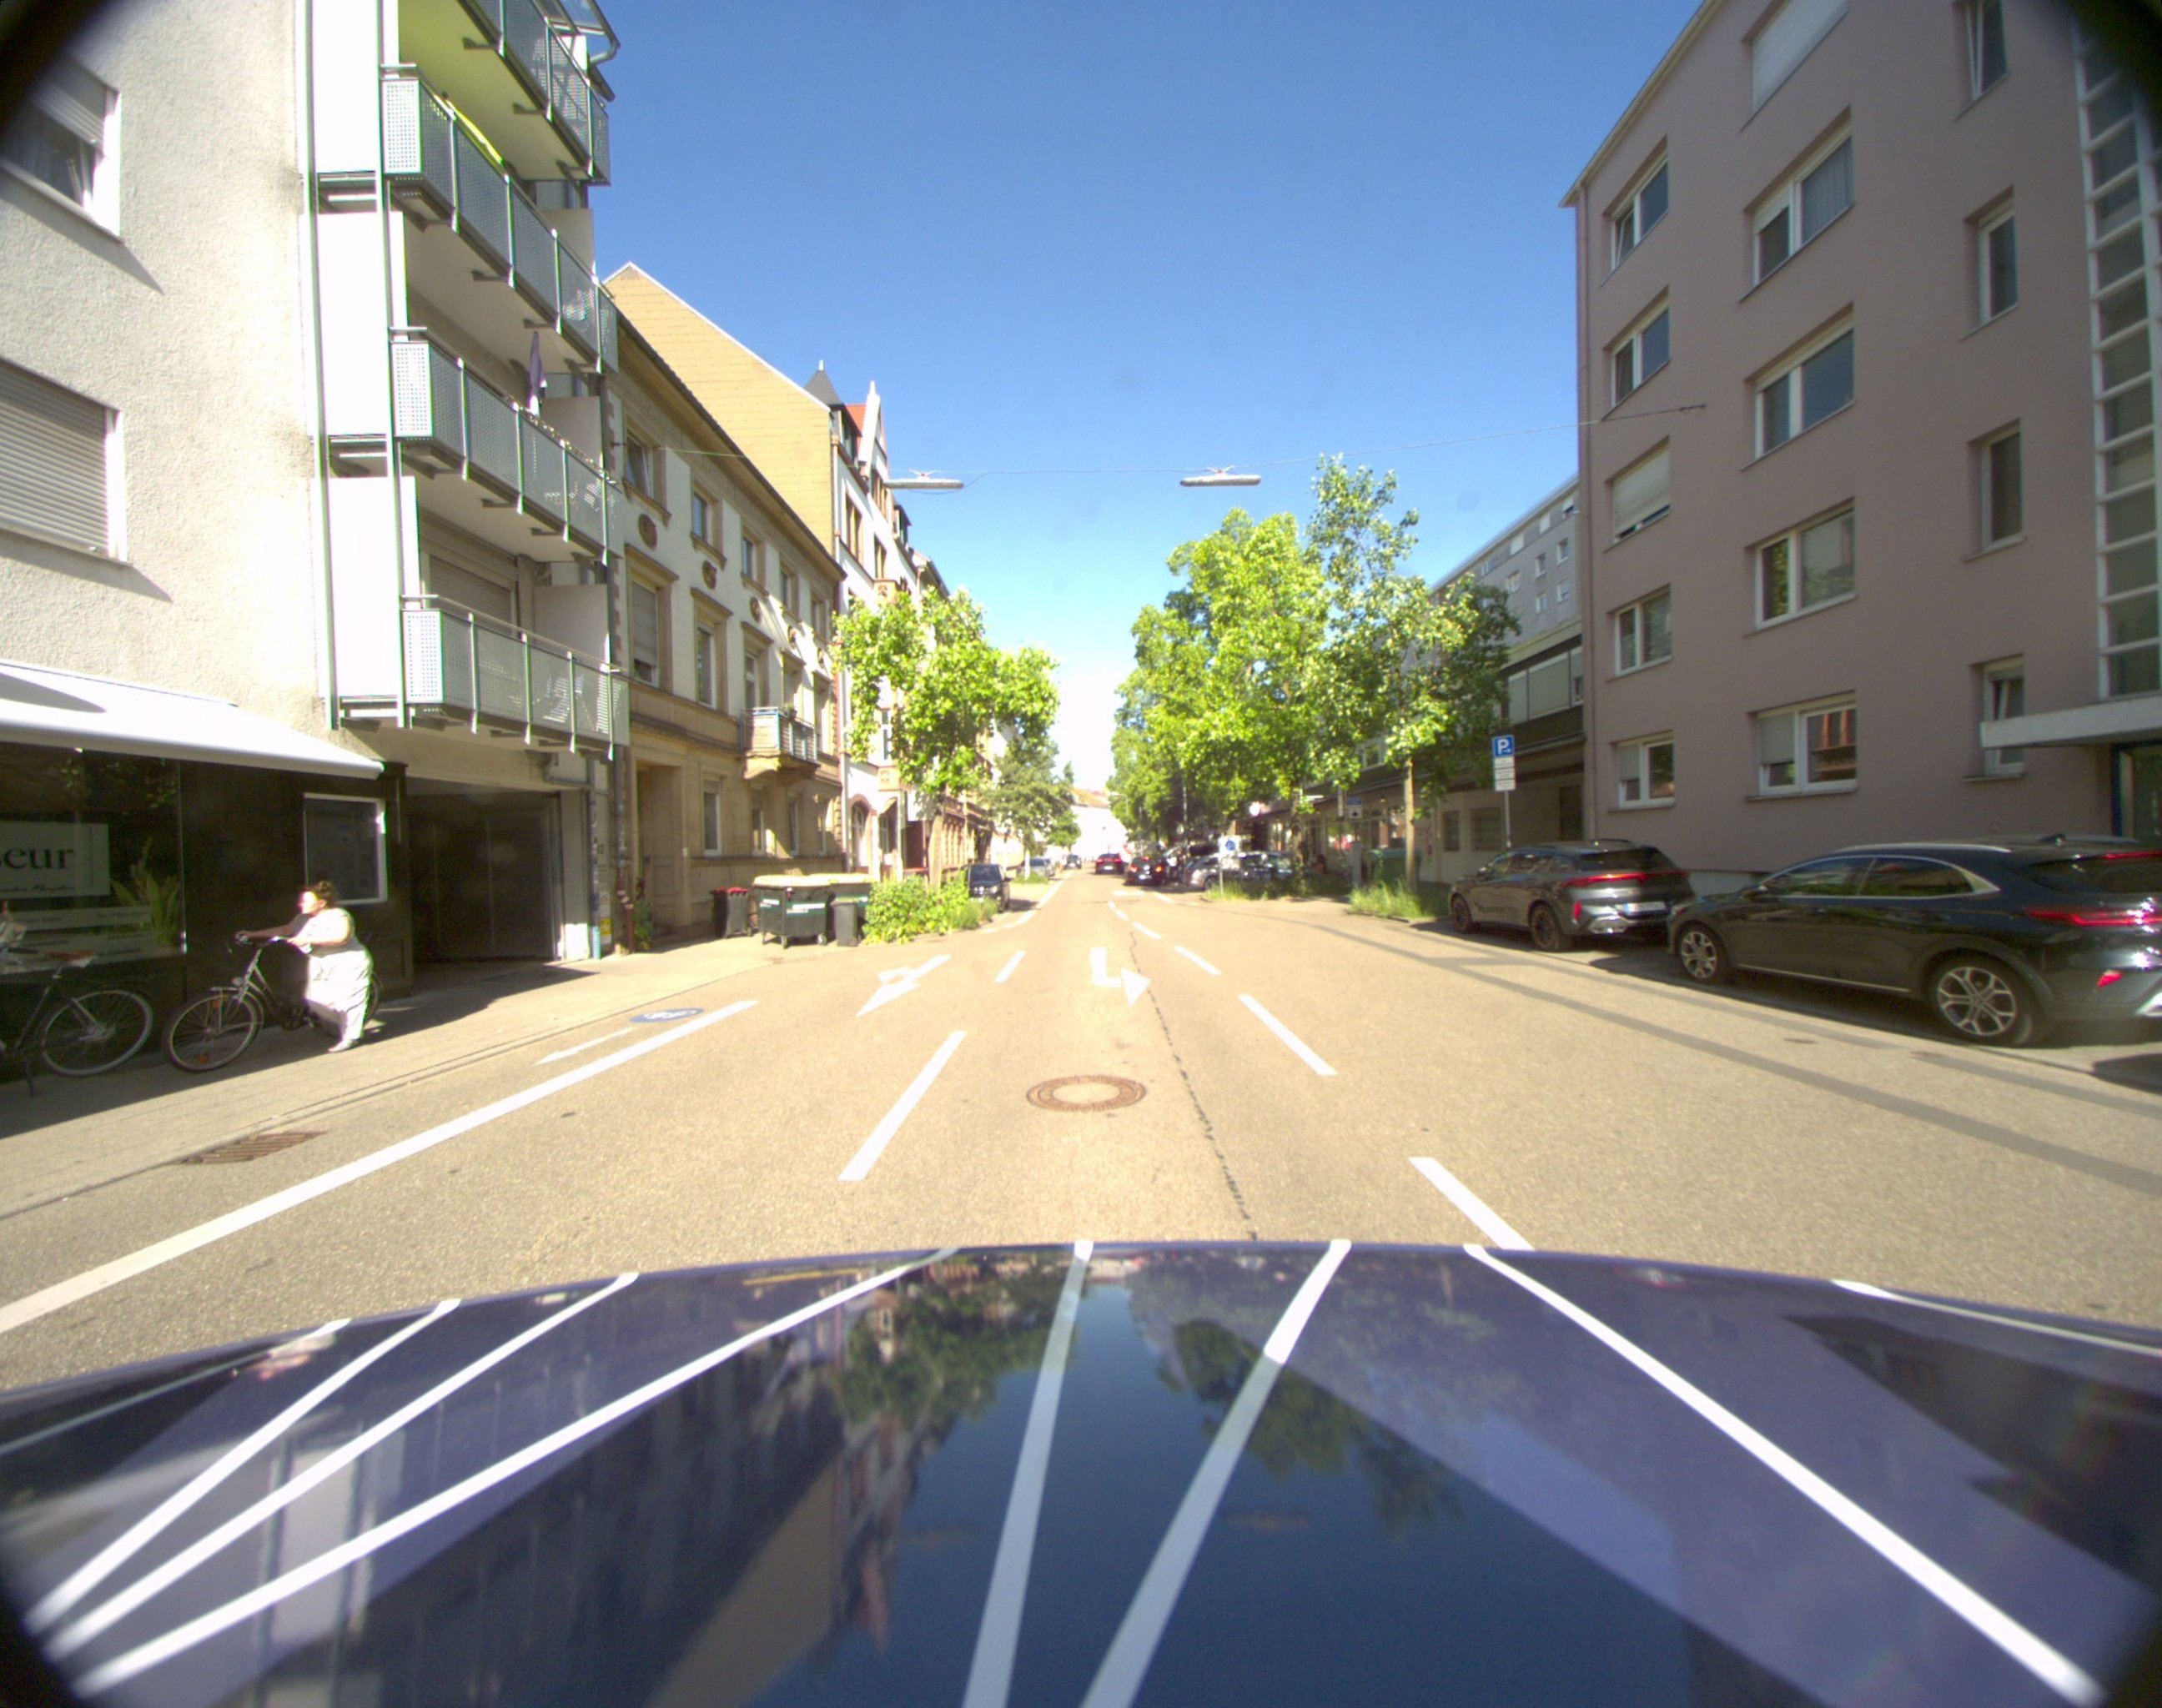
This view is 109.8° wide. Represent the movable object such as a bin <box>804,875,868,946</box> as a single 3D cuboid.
[{"bbox_3d":[-5.091,1.138,15.786,0.960,1.341,1.066,-1,2,-38],"label":"movable object such as a bin"}]

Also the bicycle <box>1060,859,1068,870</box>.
[{"bbox_3d":[-1.481,0.873,64.605,0.612,0.876,1.814,-1,-1,-2],"label":"bicycle"}]

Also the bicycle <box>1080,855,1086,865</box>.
[{"bbox_3d":[0.284,0.800,101.532,0.778,1.139,2.259,-3,1,1],"label":"bicycle"}]

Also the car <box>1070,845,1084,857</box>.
[{"bbox_3d":[-0.646,-0.509,126.528,1.998,2.002,4.000,-2,0,1],"label":"car"}]

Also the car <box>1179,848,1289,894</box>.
[{"bbox_3d":[6.082,0.657,30.601,3.997,1.665,2.000,-2,1,1],"label":"car"}]

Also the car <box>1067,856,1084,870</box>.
[{"bbox_3d":[-0.593,0.914,78.459,1.653,1.447,3.290,-2,0,1],"label":"car"}]

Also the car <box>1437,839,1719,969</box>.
[{"bbox_3d":[7.584,0.660,12.190,1.821,1.583,4.141,-5,0,2],"label":"car"}]

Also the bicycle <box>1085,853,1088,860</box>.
[{"bbox_3d":[0.996,0.477,133.460,0.422,1.292,1.762,-2,0,0],"label":"bicycle"}]

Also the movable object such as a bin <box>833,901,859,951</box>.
[{"bbox_3d":[-4.584,1.399,14.821,0.401,0.916,0.484,0,2,-7],"label":"movable object such as a bin"}]

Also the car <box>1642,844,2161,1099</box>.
[{"bbox_3d":[7.510,0.720,6.849,1.821,1.499,4.246,-4,0,2],"label":"car"}]

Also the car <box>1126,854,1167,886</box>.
[{"bbox_3d":[3.208,0.761,37.841,1.867,1.455,4.000,-2,0,3],"label":"car"}]

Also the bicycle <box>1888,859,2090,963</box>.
[{"bbox_3d":[10.754,0.630,9.087,0.391,1.070,1.650,-6,0,2],"label":"bicycle"}]

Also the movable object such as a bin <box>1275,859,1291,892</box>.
[{"bbox_3d":[7.613,0.805,28.608,0.488,1.218,0.409,-2,1,1],"label":"movable object such as a bin"}]

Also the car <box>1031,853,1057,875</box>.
[{"bbox_3d":[-2.639,0.685,55.135,1.653,1.483,3.290,-2,0,0],"label":"car"}]

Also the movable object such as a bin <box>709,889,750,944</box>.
[{"bbox_3d":[-7.325,1.287,15.825,0.615,1.075,0.568,2,3,42],"label":"movable object such as a bin"}]

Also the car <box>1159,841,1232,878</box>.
[{"bbox_3d":[6.700,0.292,44.709,3.997,2.020,2.000,-2,1,1],"label":"car"}]

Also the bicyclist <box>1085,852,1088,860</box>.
[{"bbox_3d":[1.001,0.295,133.454,0.417,1.415,0.324,-2,1,1],"label":"bicyclist"}]

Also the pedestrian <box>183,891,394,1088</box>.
[{"bbox_3d":[-6.856,1.121,6.632,0.825,1.529,0.946,2,1,1],"label":"pedestrian"}]

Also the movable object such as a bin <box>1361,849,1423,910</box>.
[{"bbox_3d":[8.128,0.654,19.926,1.247,1.536,1.019,-2,1,5],"label":"movable object such as a bin"}]

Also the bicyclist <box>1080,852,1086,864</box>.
[{"bbox_3d":[0.272,0.572,101.483,0.748,1.588,0.613,-3,1,1],"label":"bicyclist"}]

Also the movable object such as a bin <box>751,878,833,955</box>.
[{"bbox_3d":[-5.594,1.175,14.710,1.212,1.318,1.052,2,3,42],"label":"movable object such as a bin"}]

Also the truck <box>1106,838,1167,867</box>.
[{"bbox_3d":[5.207,-0.139,71.538,5.322,2.581,1.998,-2,1,-9],"label":"truck"}]

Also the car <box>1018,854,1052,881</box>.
[{"bbox_3d":[-2.751,0.793,45.821,1.759,1.492,3.949,-2,0,0],"label":"car"}]

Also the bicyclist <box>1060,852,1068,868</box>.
[{"bbox_3d":[-1.473,0.513,64.532,0.610,1.338,1.018,-2,0,-3],"label":"bicyclist"}]

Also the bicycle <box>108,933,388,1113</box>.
[{"bbox_3d":[-6.988,1.347,6.522,0.402,1.126,1.792,2,1,1],"label":"bicycle"}]

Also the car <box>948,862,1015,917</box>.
[{"bbox_3d":[-2.976,1.031,23.298,1.551,1.483,3.351,-2,0,0],"label":"car"}]

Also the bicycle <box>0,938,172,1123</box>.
[{"bbox_3d":[-7.752,1.292,5.379,0.402,1.171,1.792,-2,0,1],"label":"bicycle"}]

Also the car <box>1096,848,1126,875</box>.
[{"bbox_3d":[2.153,0.509,55.538,1.994,1.599,4.259,-3,3,1],"label":"car"}]
